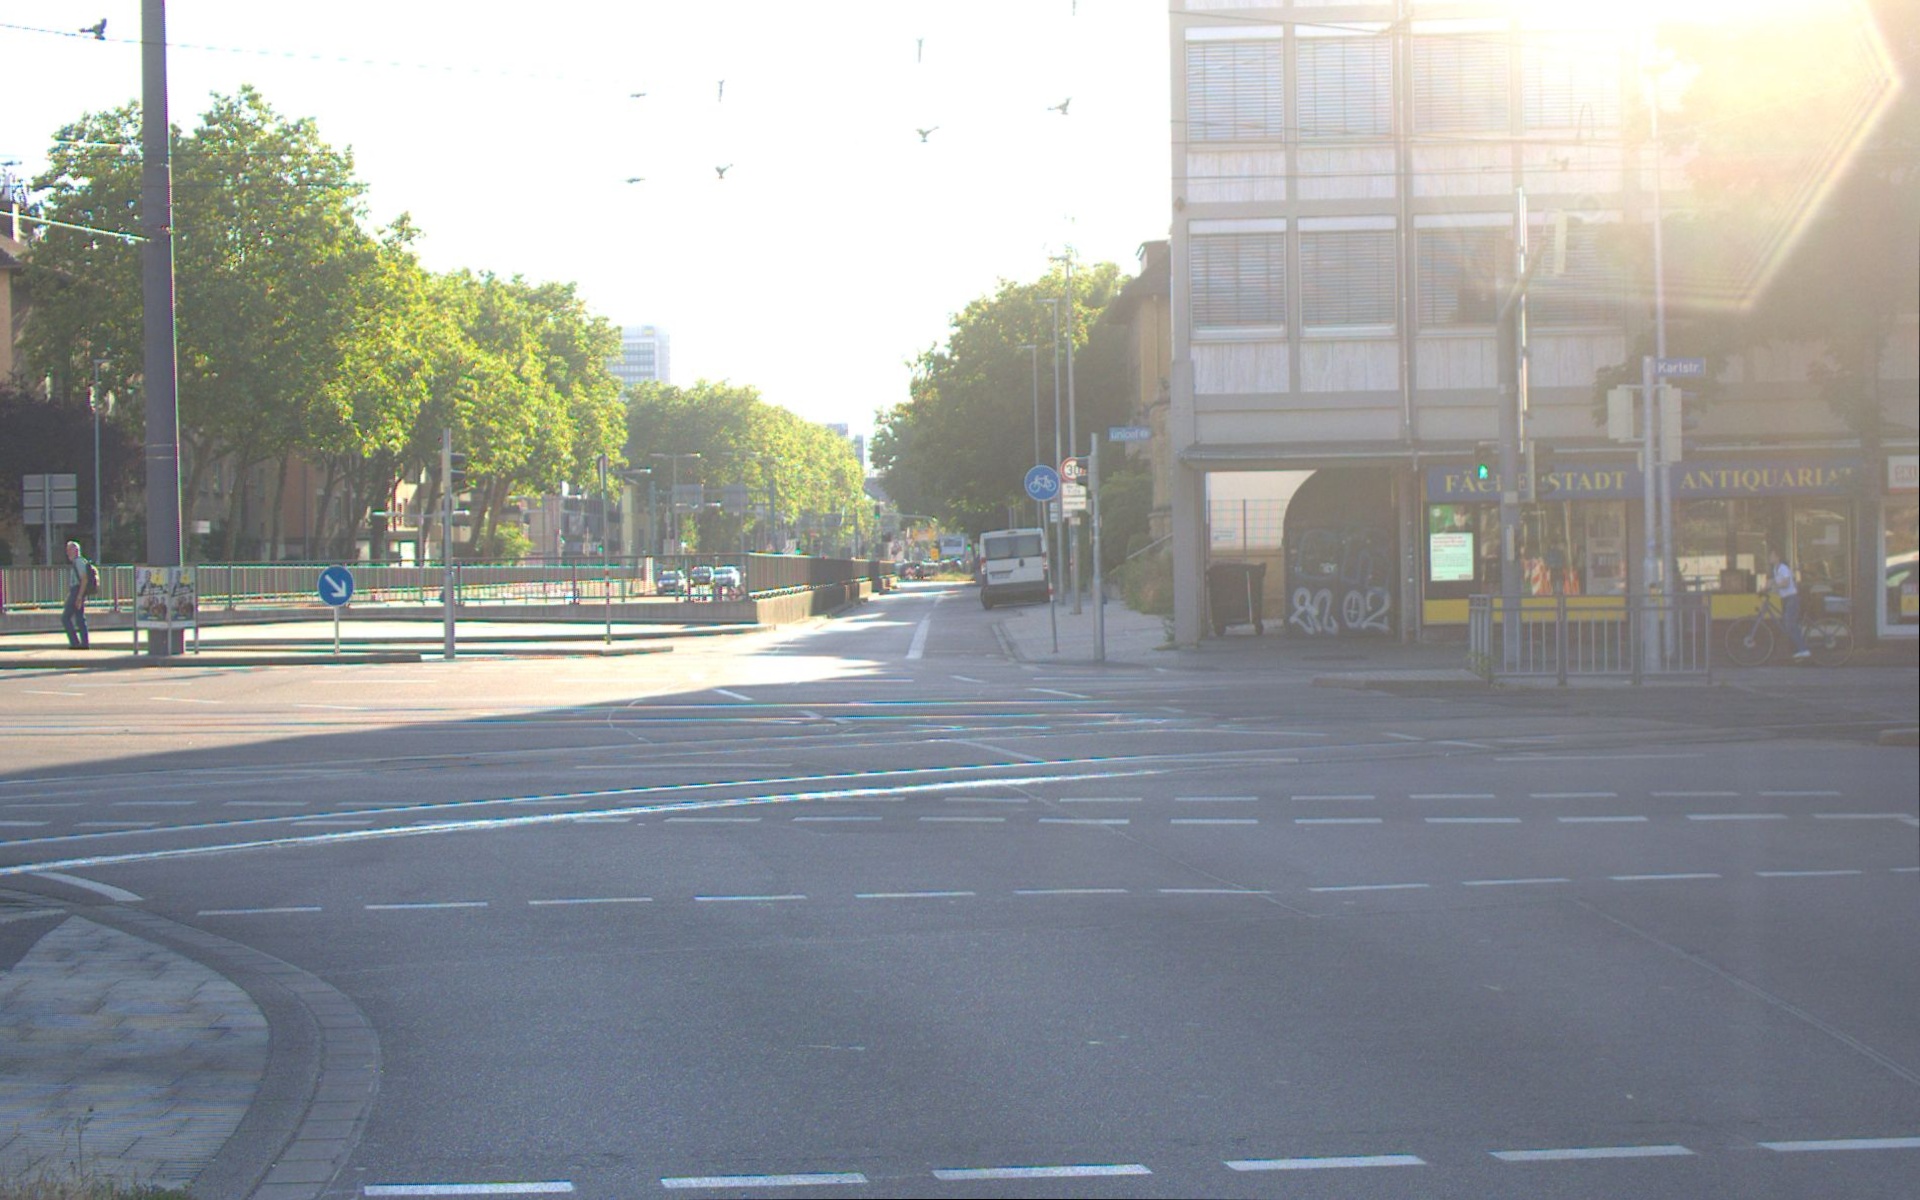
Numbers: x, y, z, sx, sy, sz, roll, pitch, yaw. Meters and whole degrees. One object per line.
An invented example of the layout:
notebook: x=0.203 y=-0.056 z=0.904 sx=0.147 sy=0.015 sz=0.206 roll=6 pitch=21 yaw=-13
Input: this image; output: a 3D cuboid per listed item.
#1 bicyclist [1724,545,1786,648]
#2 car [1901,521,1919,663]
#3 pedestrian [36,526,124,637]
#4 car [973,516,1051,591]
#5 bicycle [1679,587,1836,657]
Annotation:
bicyclist: x=11.149 y=-0.055 z=48.225 sx=0.679 sy=1.419 sz=0.671 roll=1 pitch=0 yaw=-1
car: x=12.907 y=-0.066 z=39.050 sx=3.987 sy=1.612 sz=1.844 roll=1 pitch=0 yaw=5
pedestrian: x=-13.828 y=-0.294 z=54.023 sx=1.194 sy=1.725 sz=0.856 roll=1 pitch=0 yaw=-5
car: x=1.598 y=-1.393 z=103.907 sx=2.286 sy=2.165 sz=4.833 roll=1 pitch=0 yaw=1
bicycle: x=11.180 y=0.306 z=48.231 sx=2.024 sy=0.937 sz=0.671 roll=1 pitch=0 yaw=-1
